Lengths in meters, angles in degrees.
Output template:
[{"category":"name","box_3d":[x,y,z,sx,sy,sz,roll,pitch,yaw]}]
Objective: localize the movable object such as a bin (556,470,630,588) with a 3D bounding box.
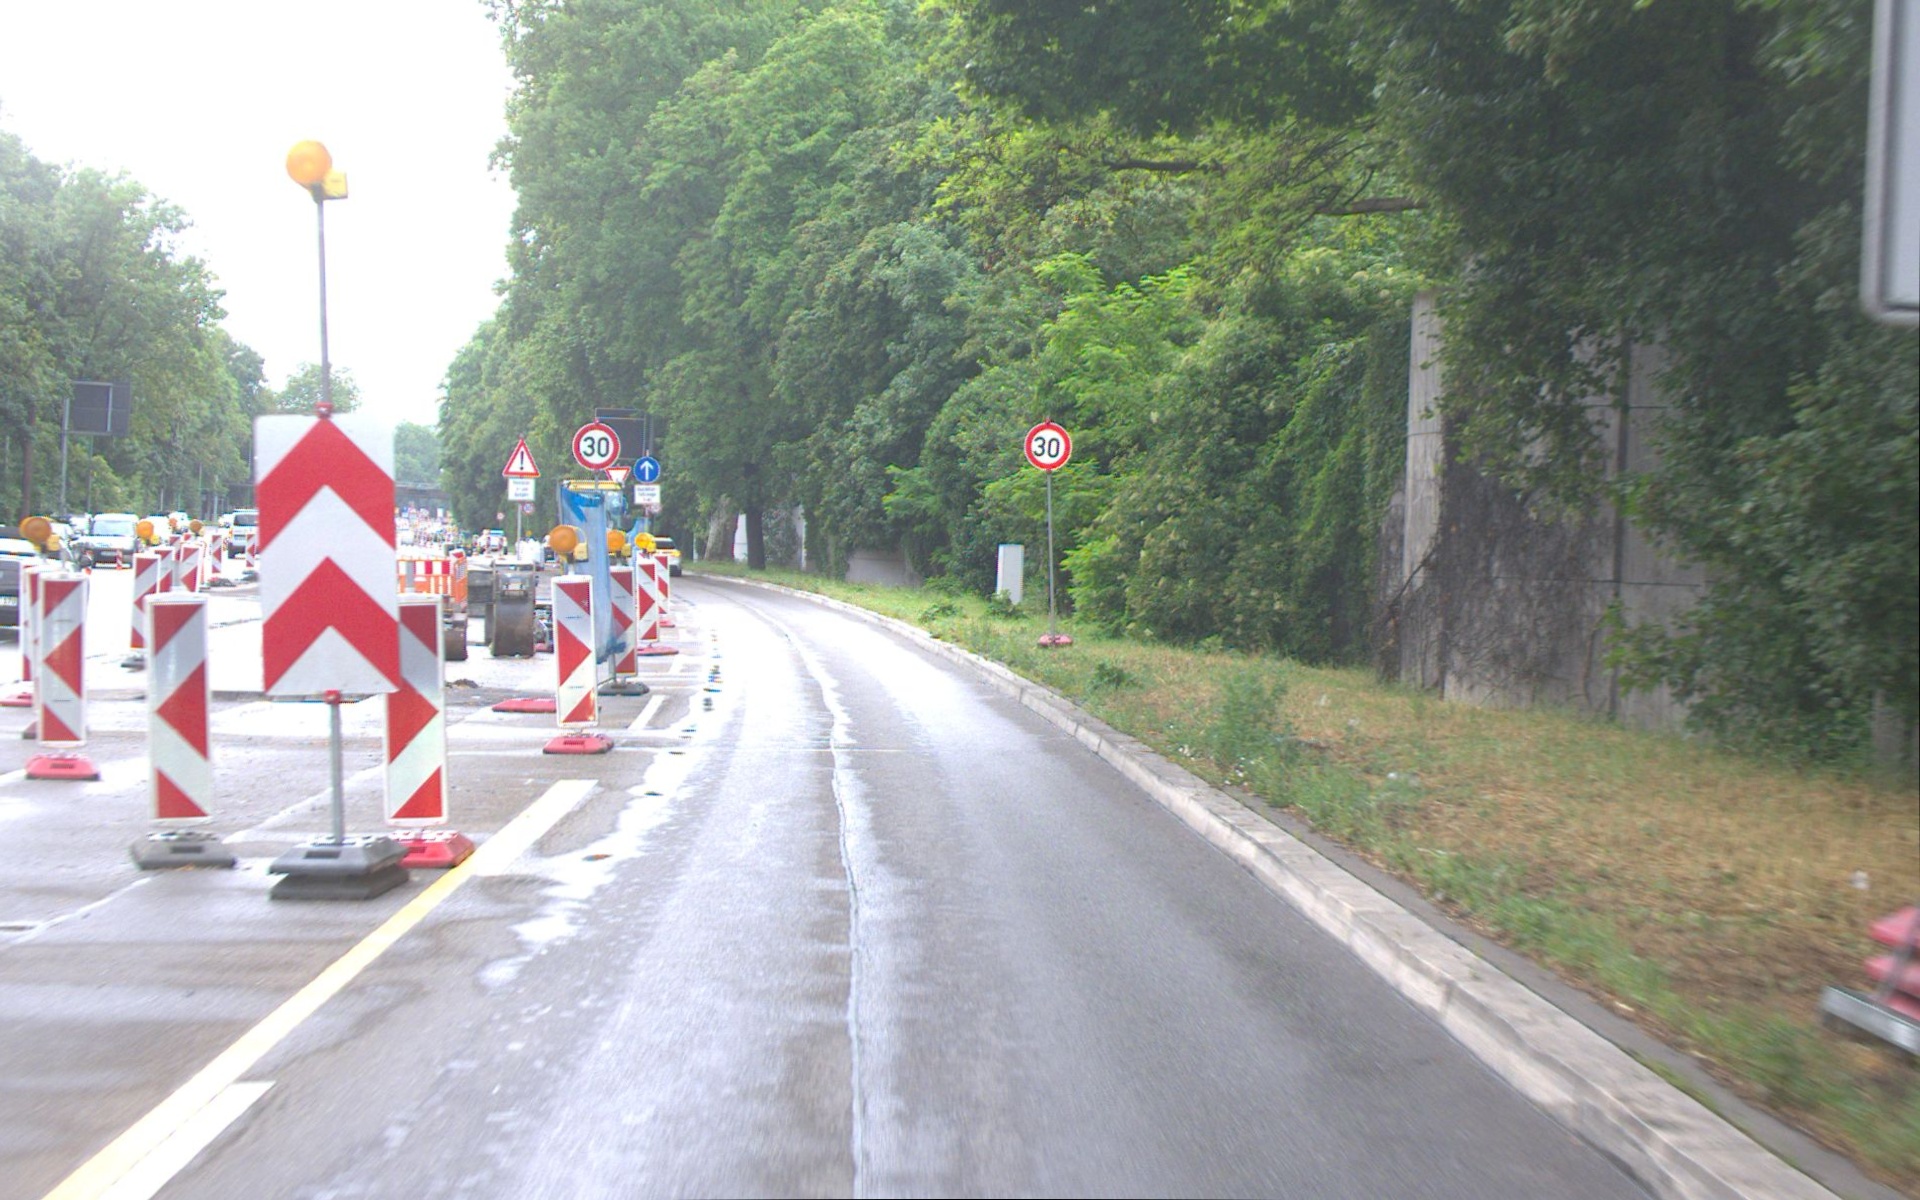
[{"category":"movable object such as a bin","box_3d":[-9.165,-1.769,85.990,1.746,2.857,3.535,1,1,-5]}]

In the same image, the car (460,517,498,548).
[{"category":"car","box_3d":[-28.429,-3.991,203.260,1.875,1.612,4.001,4,1,-4]}]

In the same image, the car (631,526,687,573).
[{"category":"car","box_3d":[-11.218,-1.906,128.453,1.914,1.592,4.835,2,2,-4]}]

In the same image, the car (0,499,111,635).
[{"category":"car","box_3d":[-12.307,-0.473,44.526,1.862,1.486,4.001,3,3,-5]}]
